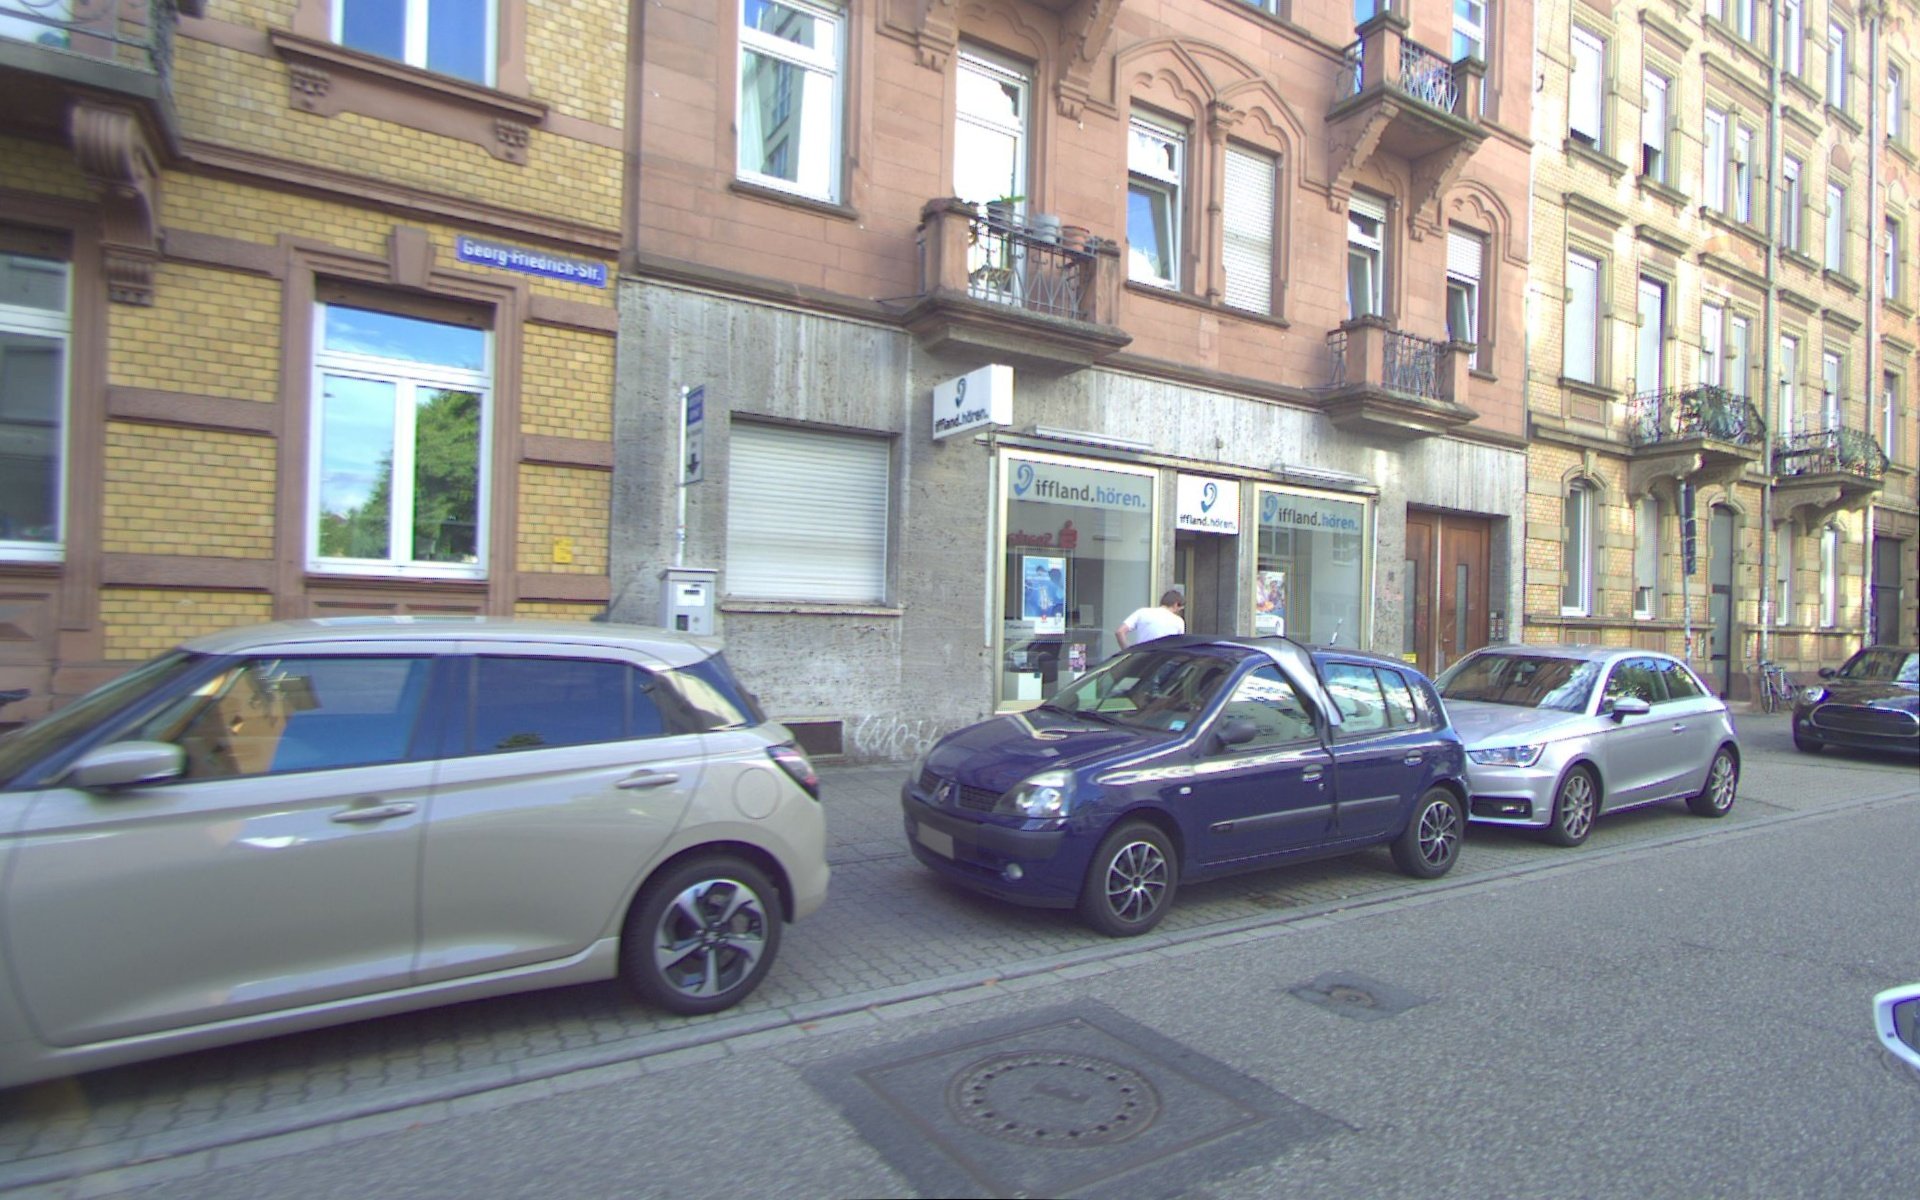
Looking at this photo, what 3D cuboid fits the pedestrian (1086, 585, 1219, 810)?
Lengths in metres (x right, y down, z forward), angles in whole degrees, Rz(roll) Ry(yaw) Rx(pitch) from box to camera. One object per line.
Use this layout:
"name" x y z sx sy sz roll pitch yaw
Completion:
"pedestrian" 1.670 0.802 8.745 0.765 1.814 0.725 1 3 -37

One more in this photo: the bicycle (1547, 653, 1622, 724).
"bicycle" 9.756 1.363 15.675 1.282 1.028 0.433 2 2 -33

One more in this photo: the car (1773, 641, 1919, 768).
"car" 12.509 1.298 13.175 3.823 1.405 1.681 2 0 -32

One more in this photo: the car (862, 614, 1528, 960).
"car" 1.551 0.903 6.265 3.938 1.503 1.733 2 0 -31

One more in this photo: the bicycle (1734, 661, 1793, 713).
"bicycle" 15.034 1.619 18.788 1.282 0.910 0.433 2 2 -33

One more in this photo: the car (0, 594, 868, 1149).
"car" -2.515 0.770 3.850 3.938 1.503 1.733 2 0 -31

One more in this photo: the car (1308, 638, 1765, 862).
"car" 4.890 1.076 8.406 3.823 1.405 1.681 2 0 -32

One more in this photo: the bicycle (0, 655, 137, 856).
"bicycle" -5.900 0.867 5.698 1.751 1.051 0.893 2 0 -30
